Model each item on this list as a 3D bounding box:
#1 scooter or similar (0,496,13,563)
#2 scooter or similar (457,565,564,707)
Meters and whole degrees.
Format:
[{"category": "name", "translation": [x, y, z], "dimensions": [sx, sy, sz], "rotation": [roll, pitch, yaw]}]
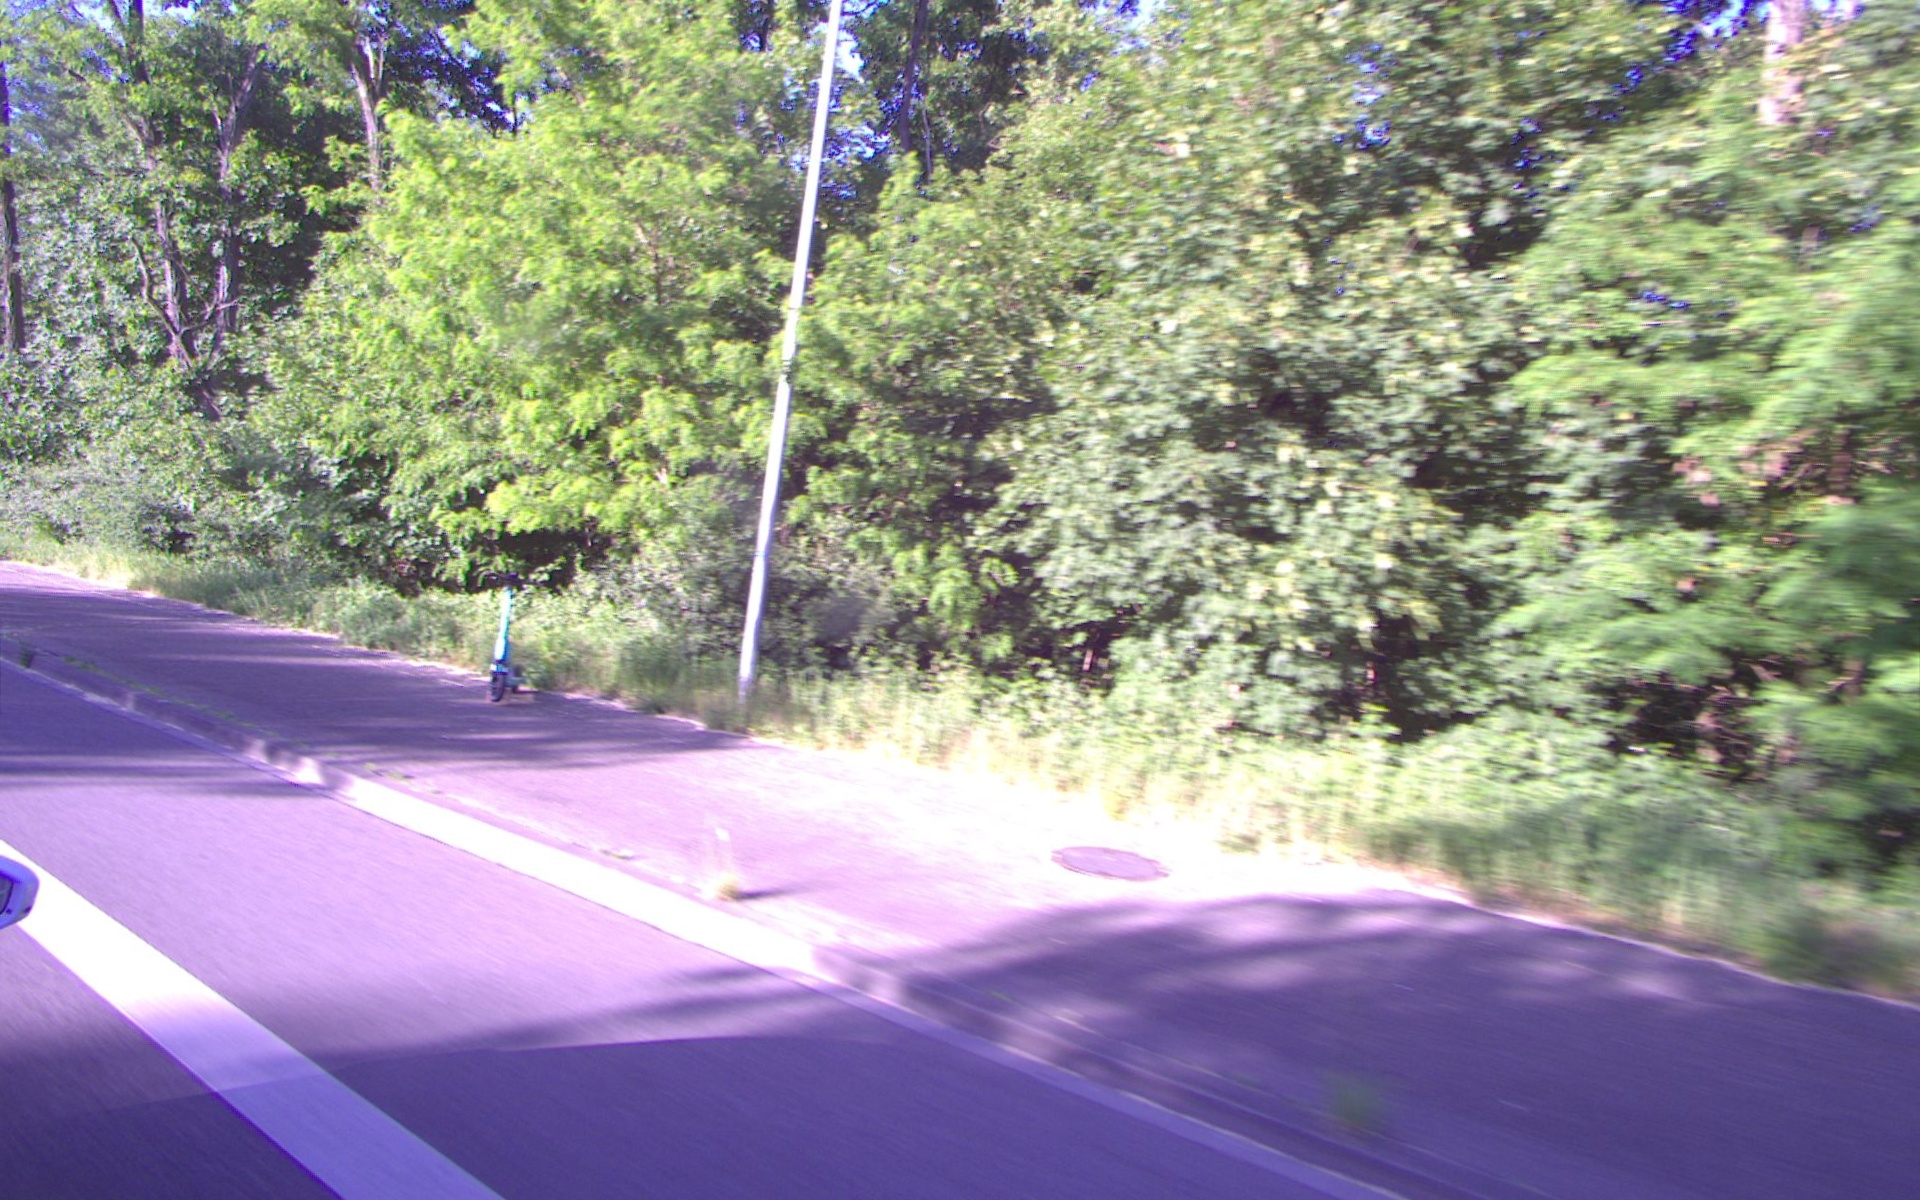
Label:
[{"category": "scooter or similar", "translation": [-19.140, -1.435, 19.613], "dimensions": [1.515, 1.265, 0.533], "rotation": [7, 1, 32]}, {"category": "scooter or similar", "translation": [-4.476, 0.325, 10.110], "dimensions": [0.526, 1.265, 1.538], "rotation": [7, 0, -11]}]
